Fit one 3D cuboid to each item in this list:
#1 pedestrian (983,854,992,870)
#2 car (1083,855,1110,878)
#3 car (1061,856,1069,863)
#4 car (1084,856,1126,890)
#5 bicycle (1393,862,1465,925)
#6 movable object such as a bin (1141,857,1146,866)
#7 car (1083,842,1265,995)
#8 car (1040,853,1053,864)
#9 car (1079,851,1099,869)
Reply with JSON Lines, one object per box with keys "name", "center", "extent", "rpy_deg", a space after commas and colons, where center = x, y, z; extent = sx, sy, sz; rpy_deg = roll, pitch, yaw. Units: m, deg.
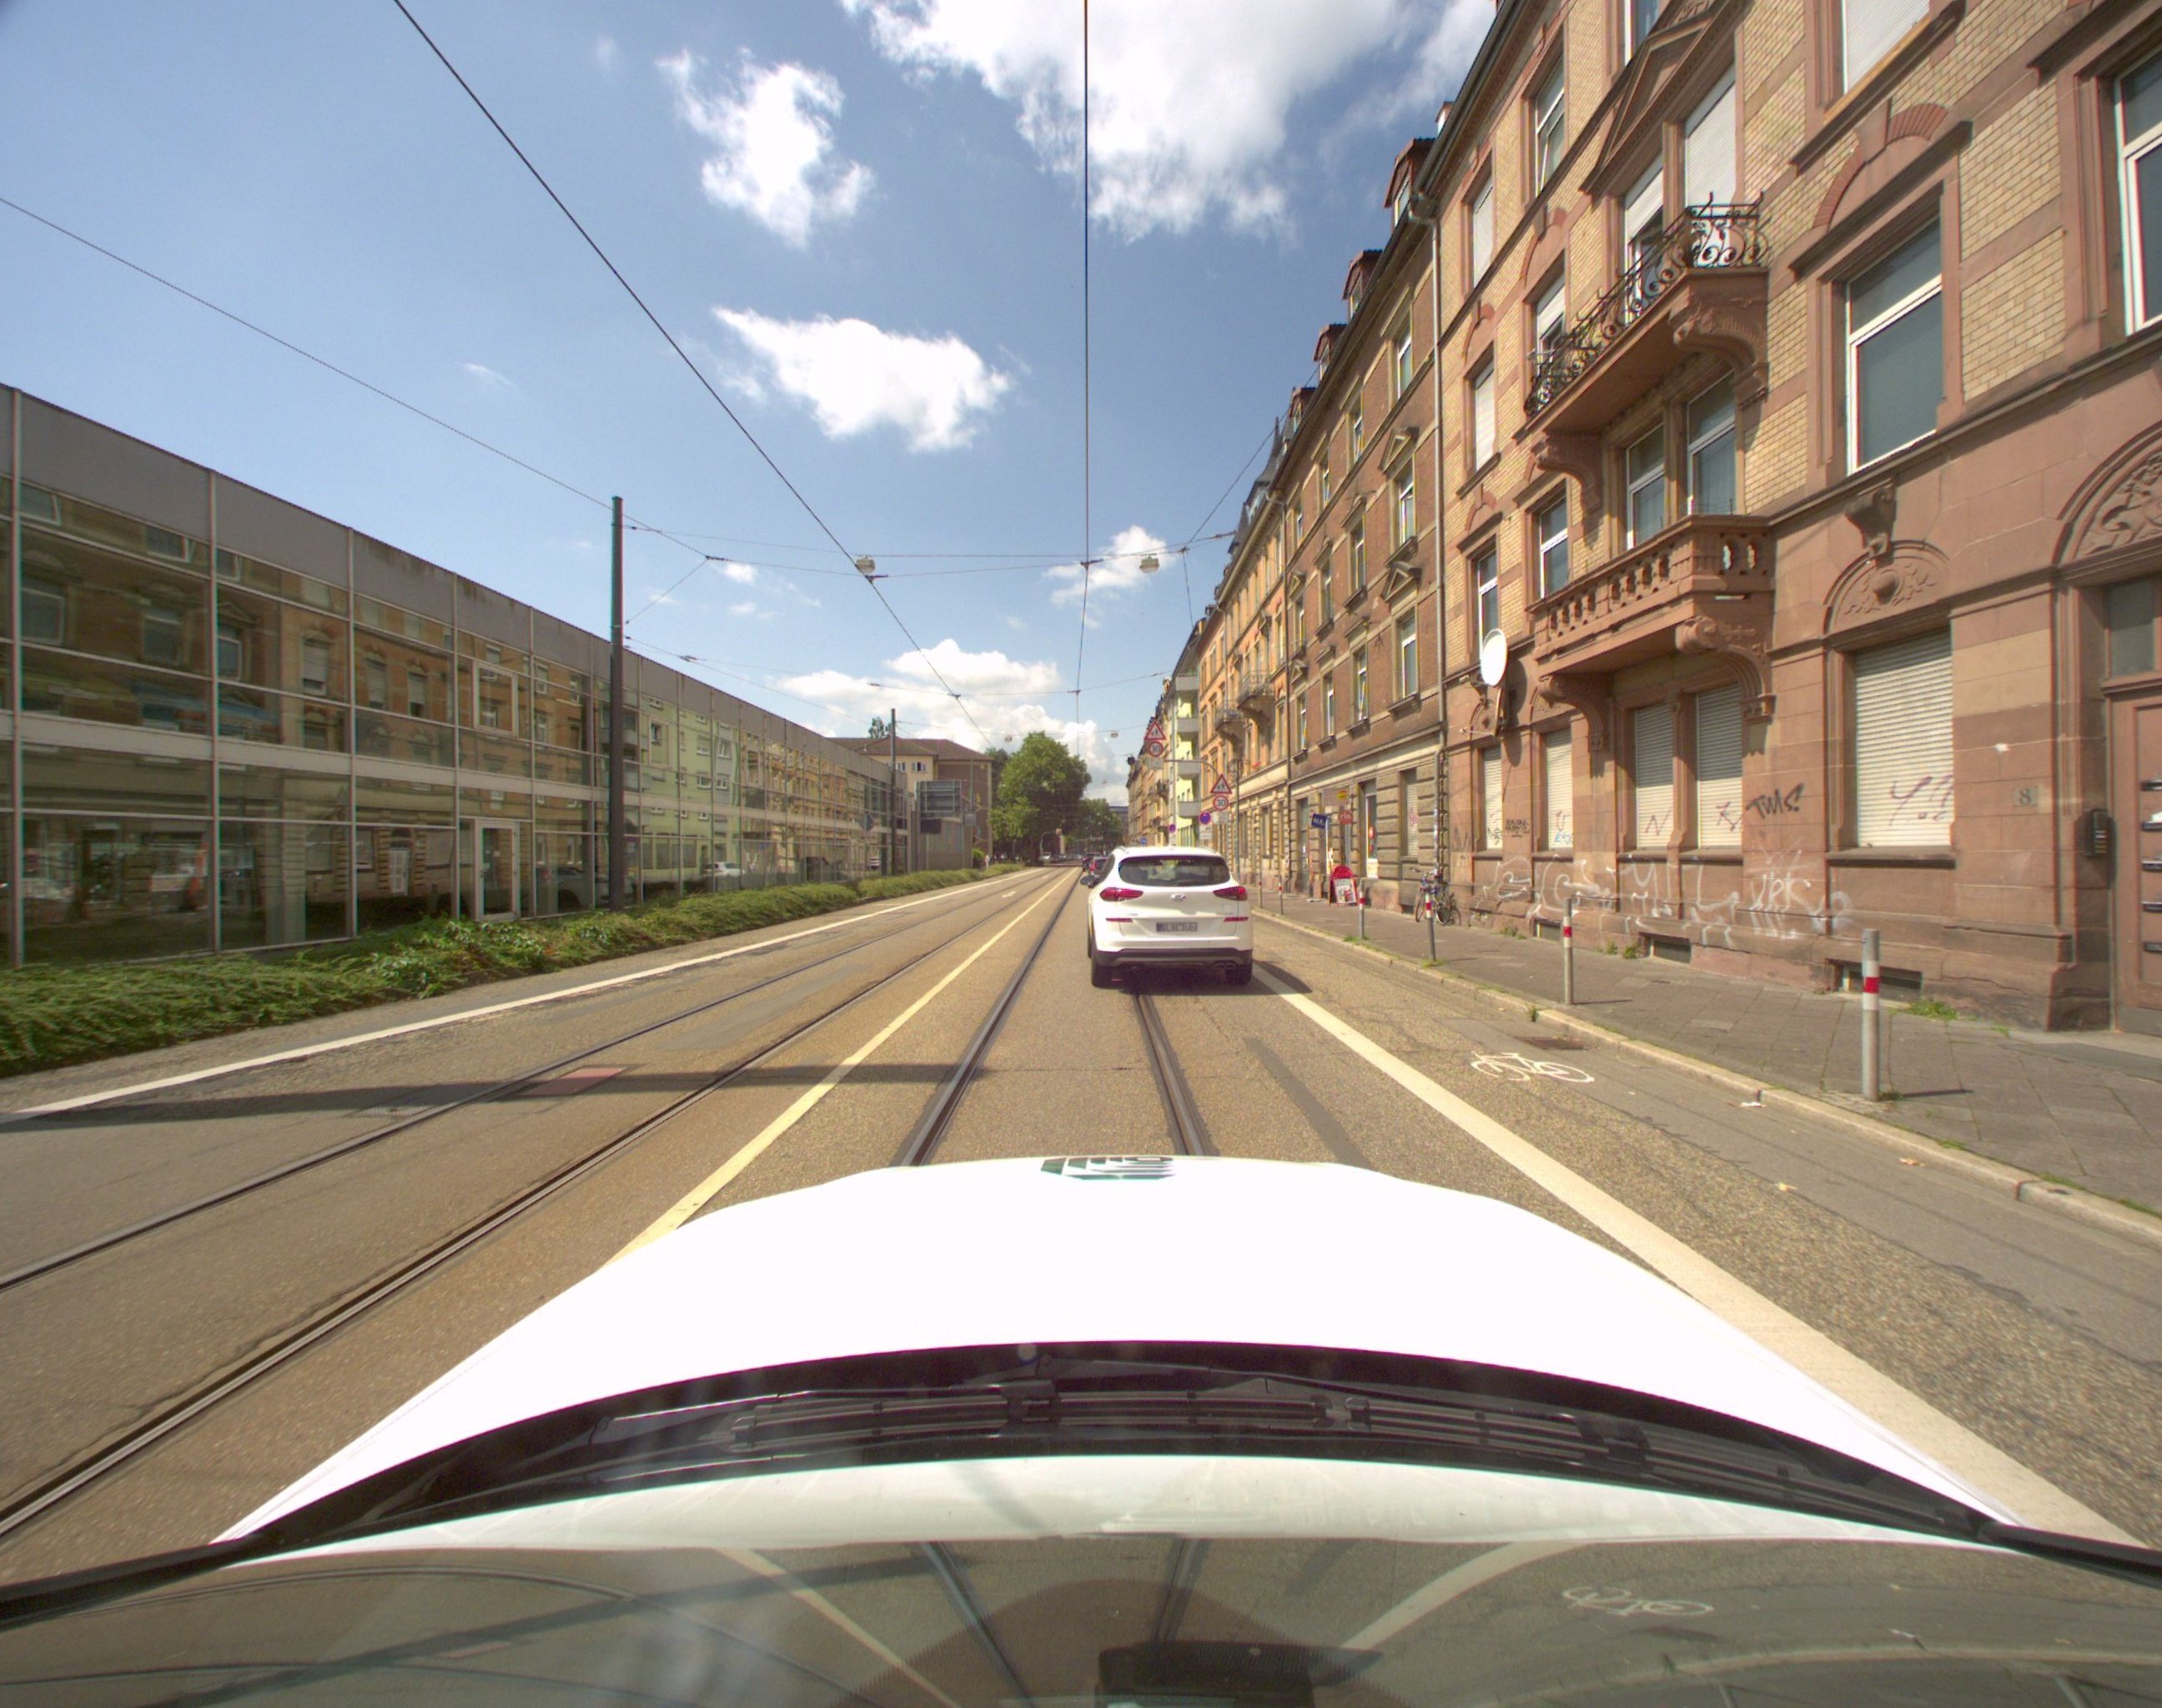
{"name": "pedestrian", "center": [-11.050, 0.975, 96.124], "extent": [0.877, 1.865, 1.081], "rpy_deg": [-2, 0, 1]}
{"name": "car", "center": [1.101, 0.838, 56.952], "extent": [1.808, 1.524, 3.956], "rpy_deg": [-1, 0, 1]}
{"name": "car", "center": [-4.006, 1.343, 205.606], "extent": [1.945, 1.632, 3.997], "rpy_deg": [0, 0, -2]}
{"name": "car", "center": [1.205, 0.877, 39.161], "extent": [1.806, 1.524, 4.089], "rpy_deg": [-1, 0, 4]}
{"name": "bicycle", "center": [7.094, 0.768, 16.712], "extent": [0.584, 1.178, 2.206], "rpy_deg": [-1, 0, 2]}
{"name": "movable object such as a bin", "center": [8.146, 1.015, 105.487], "extent": [0.610, 1.143, 0.638], "rpy_deg": [0, 0, 1]}
{"name": "car", "center": [1.007, 0.693, 10.831], "extent": [1.847, 1.634, 4.178], "rpy_deg": [0, 0, -2]}
{"name": "car", "center": [-6.008, 0.831, 141.554], "extent": [1.943, 1.895, 4.565], "rpy_deg": [0, 0, 1]}
{"name": "car", "center": [0.799, 0.556, 76.156], "extent": [1.808, 1.662, 4.085], "rpy_deg": [-1, 0, 1]}
